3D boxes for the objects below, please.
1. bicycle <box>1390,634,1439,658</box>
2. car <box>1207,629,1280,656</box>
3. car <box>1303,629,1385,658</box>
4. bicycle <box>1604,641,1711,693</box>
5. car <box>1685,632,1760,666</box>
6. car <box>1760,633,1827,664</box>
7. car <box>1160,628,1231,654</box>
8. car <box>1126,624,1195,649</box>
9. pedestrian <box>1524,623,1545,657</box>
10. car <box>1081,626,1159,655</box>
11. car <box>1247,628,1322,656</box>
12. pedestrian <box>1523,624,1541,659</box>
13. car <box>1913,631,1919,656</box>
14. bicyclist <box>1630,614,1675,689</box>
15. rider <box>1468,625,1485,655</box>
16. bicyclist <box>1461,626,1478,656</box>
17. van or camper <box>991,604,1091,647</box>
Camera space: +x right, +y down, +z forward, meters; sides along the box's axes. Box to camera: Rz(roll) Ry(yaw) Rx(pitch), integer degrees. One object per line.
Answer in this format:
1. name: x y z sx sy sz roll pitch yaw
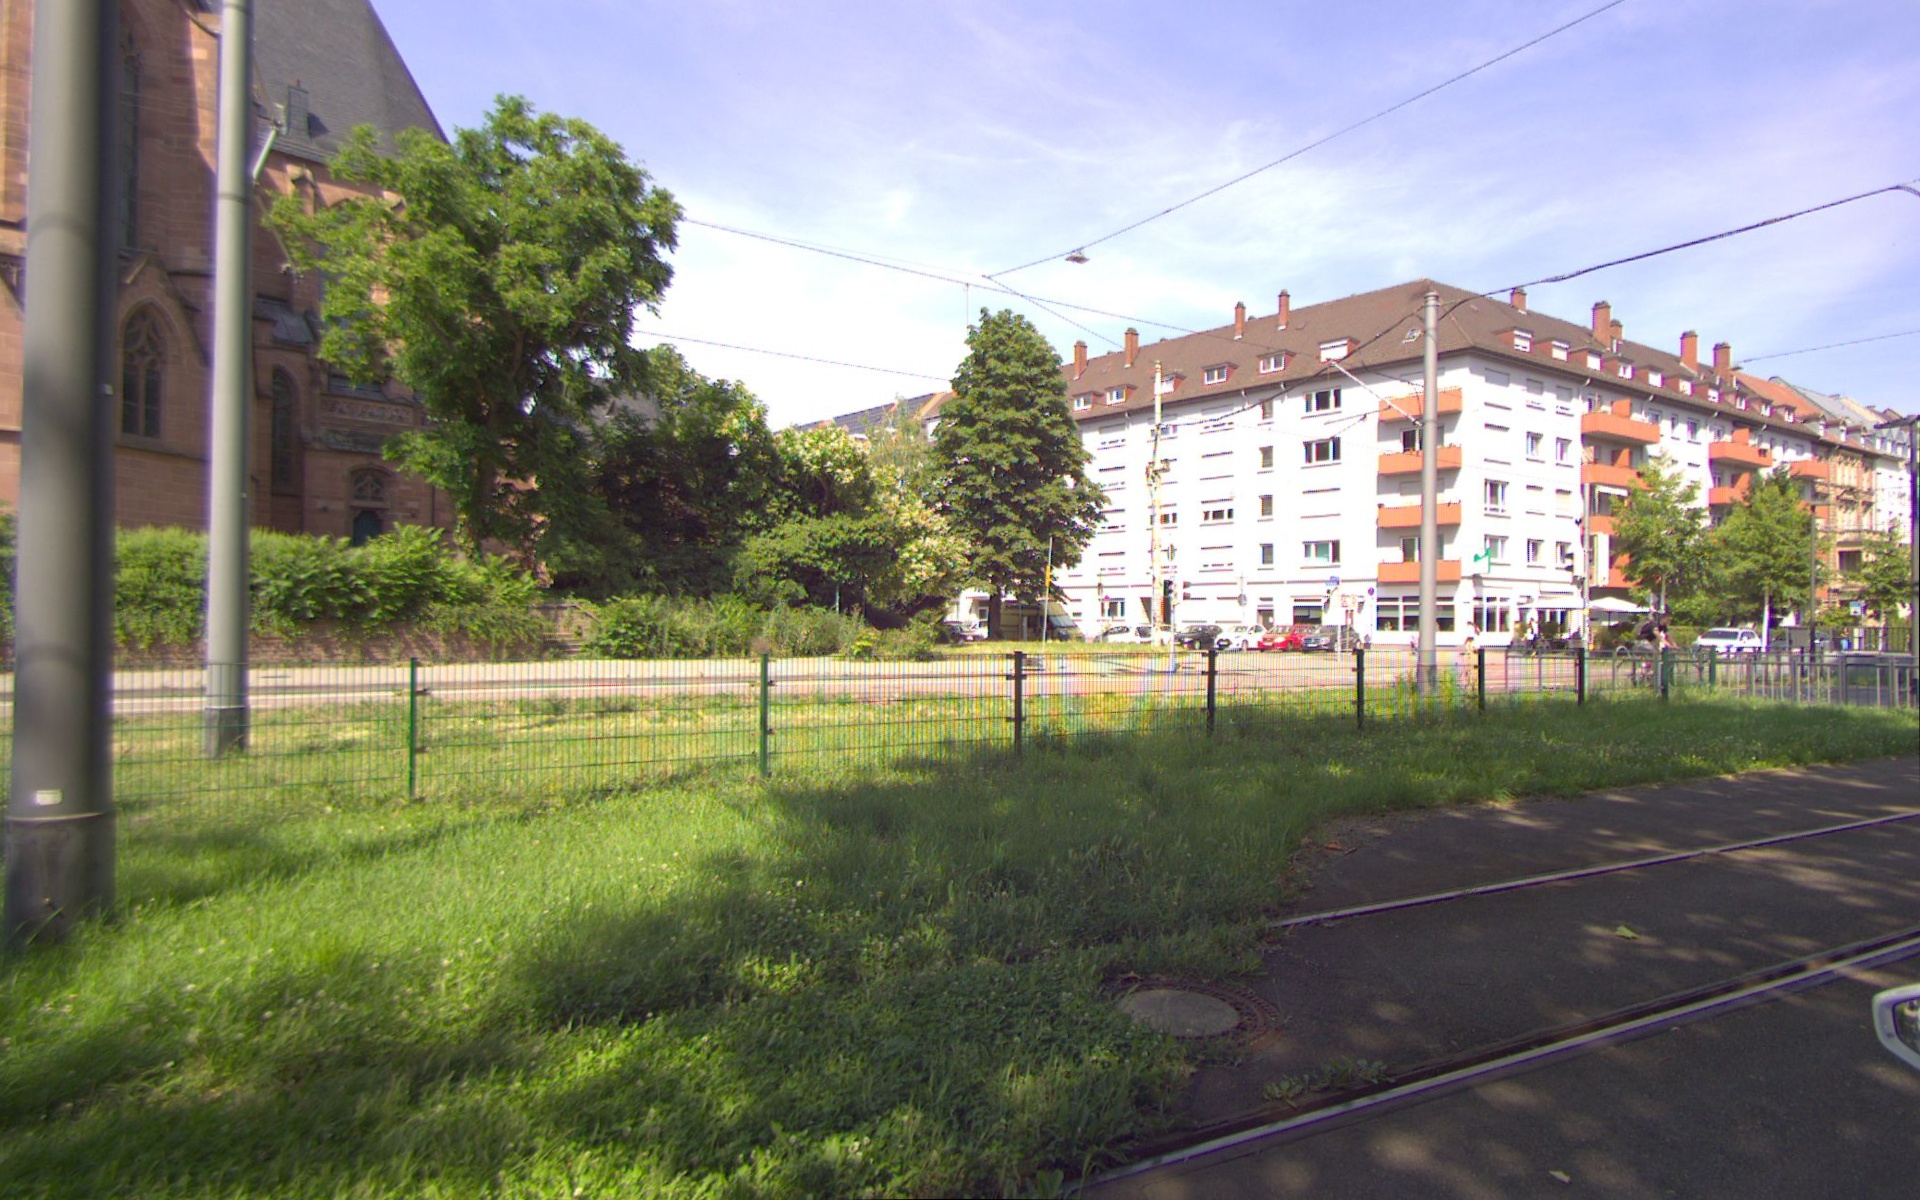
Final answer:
1. bicycle: 22.502 2.262 49.688 2.780 1.152 0.905 1 -1 -35
2. car: 15.912 2.368 56.343 4.131 1.425 1.917 2 -2 -39
3. car: 19.708 2.206 51.503 4.600 1.394 1.820 1 -2 -37
4. bicycle: 15.584 1.474 22.495 0.528 1.063 1.905 1 -1 -37
5. car: 35.686 2.287 46.969 3.963 1.518 1.758 1 -3 -37
6. car: 42.728 2.464 51.462 3.963 1.518 1.758 1 -3 -37
7. car: 13.596 2.359 57.866 4.131 1.425 1.917 2 -2 -39
8. car: 12.036 2.177 60.152 4.131 1.425 1.917 1 -1 -39
9. pedestrian: 27.369 1.915 47.846 0.846 1.593 0.688 0 -1 35
10. car: 8.449 2.123 53.140 3.701 1.425 1.823 -1 -2 43
11. car: 17.496 2.246 54.057 4.131 1.425 1.917 2 -2 -39
12. pedestrian: 26.968 1.944 47.345 0.679 1.593 0.544 0 -1 35
13. car: 61.100 2.717 62.681 3.963 1.518 1.758 1 -2 -37
14. bicyclist: 15.555 1.135 22.552 0.619 1.644 0.687 1 -1 -38
15. rider: 25.609 1.986 49.804 0.616 1.442 0.587 0 -1 43
16. bicyclist: 25.079 2.010 49.466 0.616 1.442 0.587 0 -1 43
17. van or camper: 4.546 1.455 57.461 2.229 2.360 5.702 2 -2 -43
